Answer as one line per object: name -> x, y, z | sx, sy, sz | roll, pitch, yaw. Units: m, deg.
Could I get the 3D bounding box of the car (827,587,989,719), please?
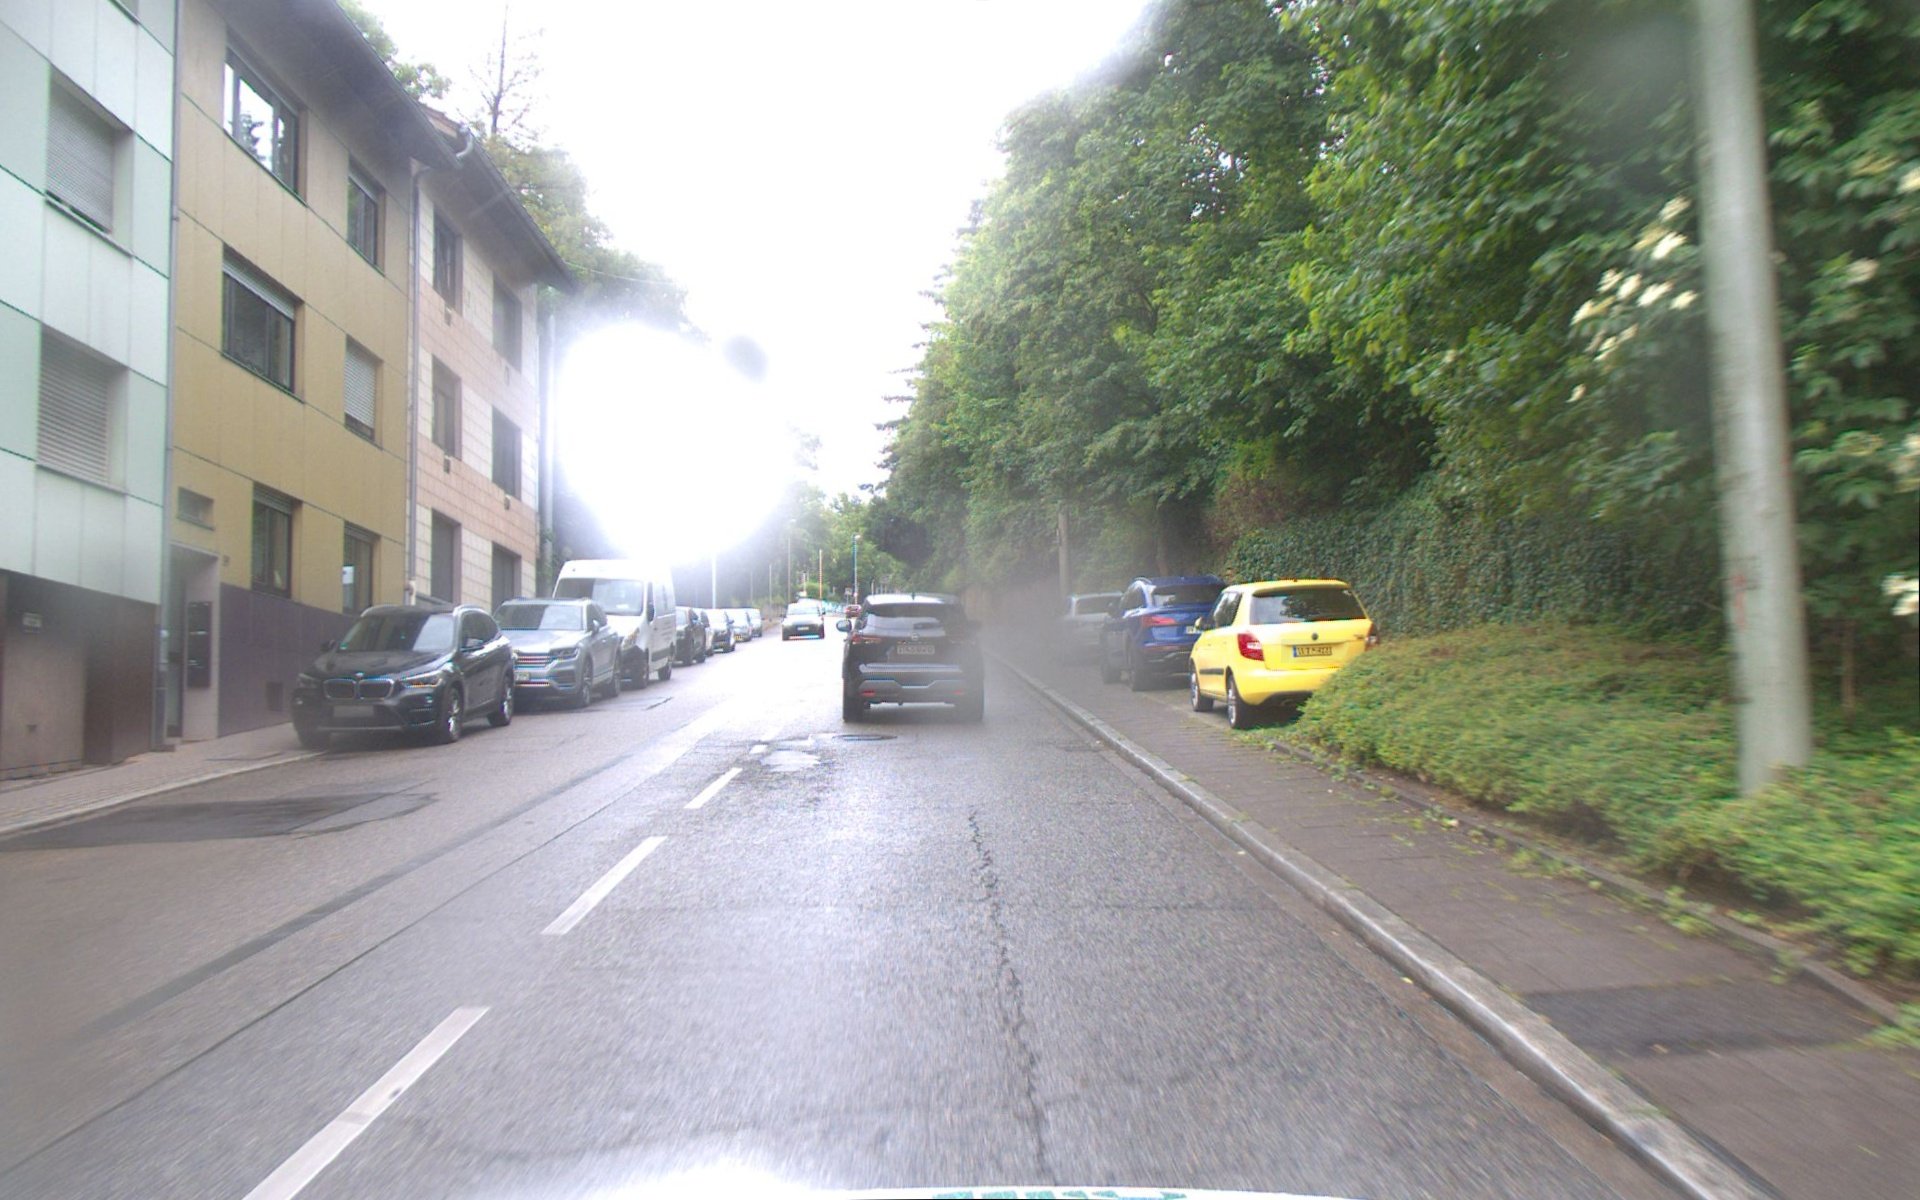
car -> -0.686, 0.629, 22.036 | 1.953, 1.587, 3.999 | 0, 0, -2

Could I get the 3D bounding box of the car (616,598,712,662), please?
car -> -7.918, 0.764, 44.669 | 1.950, 1.594, 4.455 | -1, 0, -3

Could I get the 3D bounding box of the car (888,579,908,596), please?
car -> -6.662, -1.363, 178.790 | 1.953, 1.587, 3.999 | -2, -2, 0

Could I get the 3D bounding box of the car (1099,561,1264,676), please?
car -> 3.350, 0.280, 25.850 | 1.774, 1.556, 4.415 | -3, 0, -2

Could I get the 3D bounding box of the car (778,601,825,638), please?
car -> -7.189, 0.877, 75.291 | 1.954, 1.587, 3.997 | 0, 0, -3

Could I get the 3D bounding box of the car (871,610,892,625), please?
car -> -8.141, 1.798, 171.946 | 2.034, 1.587, 3.996 | 0, 0, -5

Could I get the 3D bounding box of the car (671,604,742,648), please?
car -> -8.686, 0.866, 57.007 | 1.950, 1.408, 4.455 | -1, 0, -3

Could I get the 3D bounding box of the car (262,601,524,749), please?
car -> -6.929, 0.835, 20.720 | 1.950, 1.613, 4.303 | -1, 0, -3

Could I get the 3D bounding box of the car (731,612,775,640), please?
car -> -11.099, 1.380, 88.990 | 1.950, 1.408, 4.455 | -1, 0, -3

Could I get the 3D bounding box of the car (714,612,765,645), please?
car -> -10.313, 1.311, 77.577 | 1.950, 1.408, 4.455 | -1, 0, -3

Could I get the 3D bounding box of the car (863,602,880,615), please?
car -> -10.741, 1.018, 201.482 | 2.033, 1.587, 3.998 | 0, 0, -3

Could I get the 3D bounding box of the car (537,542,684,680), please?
car -> -6.956, 0.205, 33.523 | 1.950, 2.518, 5.781 | -1, 0, -3

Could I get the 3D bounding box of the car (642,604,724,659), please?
car -> -8.604, 0.946, 51.704 | 1.950, 1.594, 4.455 | -1, 0, -3

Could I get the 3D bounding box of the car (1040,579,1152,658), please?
car -> 2.949, 0.409, 36.741 | 1.775, 1.556, 4.413 | -3, 0, -4

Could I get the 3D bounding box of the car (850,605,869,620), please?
car -> -11.075, 1.339, 182.457 | 2.033, 1.587, 3.997 | 0, 0, -3

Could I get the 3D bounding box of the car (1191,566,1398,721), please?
car -> 3.671, 0.448, 18.773 | 1.599, 1.557, 4.000 | 0, 0, 1

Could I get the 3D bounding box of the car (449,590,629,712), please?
car -> -6.756, 0.764, 27.014 | 1.950, 1.786, 4.477 | -1, 0, -3
